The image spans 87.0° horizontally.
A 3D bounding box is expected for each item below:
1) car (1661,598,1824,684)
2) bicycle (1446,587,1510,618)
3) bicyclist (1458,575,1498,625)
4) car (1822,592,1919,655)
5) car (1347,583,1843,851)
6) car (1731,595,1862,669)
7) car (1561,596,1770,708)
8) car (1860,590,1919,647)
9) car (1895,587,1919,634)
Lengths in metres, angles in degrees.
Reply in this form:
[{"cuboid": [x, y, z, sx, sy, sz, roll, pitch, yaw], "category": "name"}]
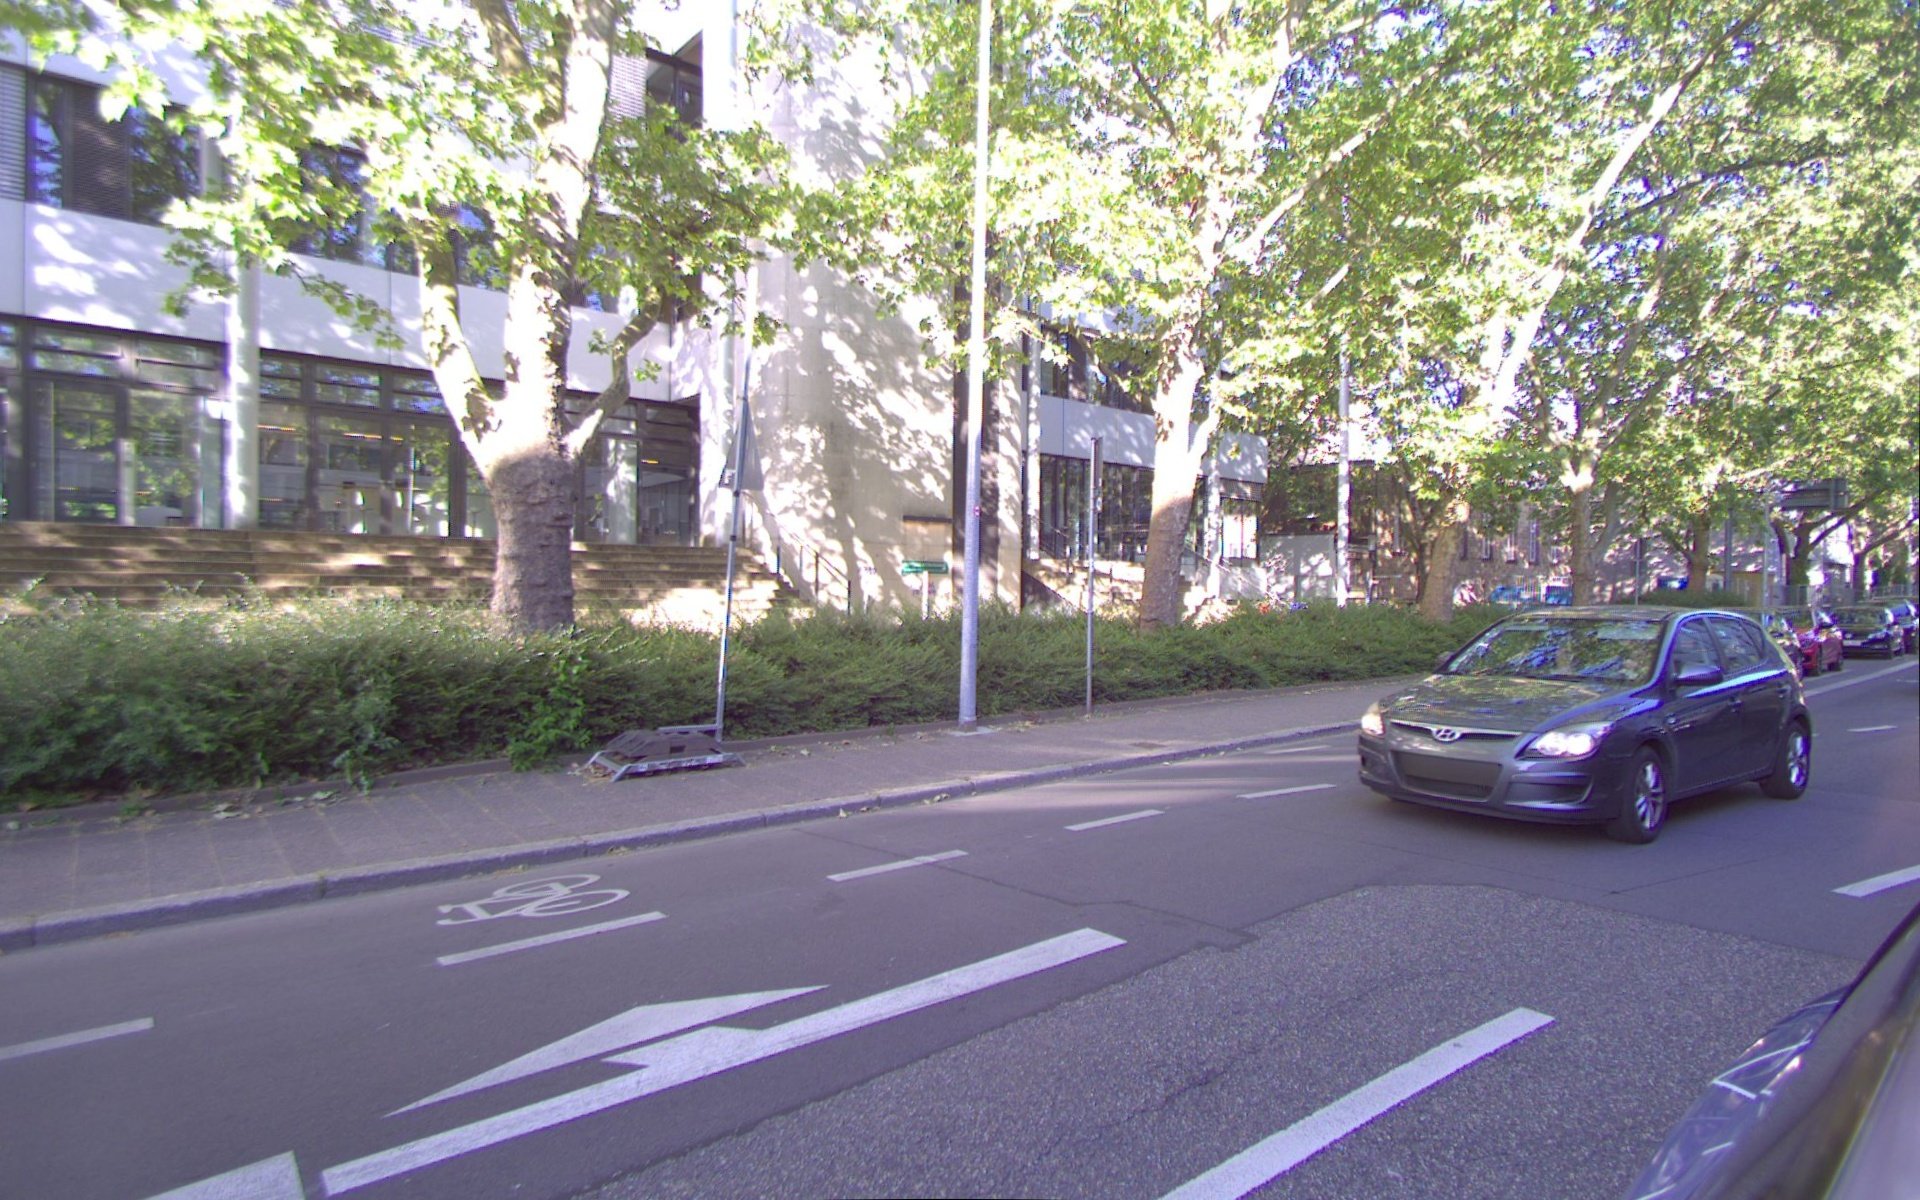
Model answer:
[{"cuboid": [14.998, 0.718, 19.333, 4.022, 1.472, 1.739, 0, -1, -42], "category": "car"}, {"cuboid": [17.258, 0.070, 33.732, 1.792, 1.027, 0.723, 0, 0, 42], "category": "bicycle"}, {"cuboid": [17.257, -0.018, 33.722, 1.033, 1.640, 0.687, 0, 0, 42], "category": "bicyclist"}, {"cuboid": [25.926, 0.598, 28.709, 4.022, 1.653, 1.739, 0, 1, -42], "category": "car"}, {"cuboid": [4.765, 0.641, 7.441, 3.899, 1.501, 1.650, 0, 1, -34], "category": "car"}, {"cuboid": [18.717, 0.669, 22.591, 3.851, 1.511, 1.679, 0, -1, -42], "category": "car"}, {"cuboid": [11.299, 0.738, 16.114, 4.071, 1.548, 1.827, 0, -1, -42], "category": "car"}, {"cuboid": [29.686, 0.541, 31.853, 3.840, 1.708, 1.633, 0, 1, -42], "category": "car"}, {"cuboid": [38.752, 0.409, 40.409, 3.829, 1.818, 1.739, 0, 1, -42], "category": "car"}]
